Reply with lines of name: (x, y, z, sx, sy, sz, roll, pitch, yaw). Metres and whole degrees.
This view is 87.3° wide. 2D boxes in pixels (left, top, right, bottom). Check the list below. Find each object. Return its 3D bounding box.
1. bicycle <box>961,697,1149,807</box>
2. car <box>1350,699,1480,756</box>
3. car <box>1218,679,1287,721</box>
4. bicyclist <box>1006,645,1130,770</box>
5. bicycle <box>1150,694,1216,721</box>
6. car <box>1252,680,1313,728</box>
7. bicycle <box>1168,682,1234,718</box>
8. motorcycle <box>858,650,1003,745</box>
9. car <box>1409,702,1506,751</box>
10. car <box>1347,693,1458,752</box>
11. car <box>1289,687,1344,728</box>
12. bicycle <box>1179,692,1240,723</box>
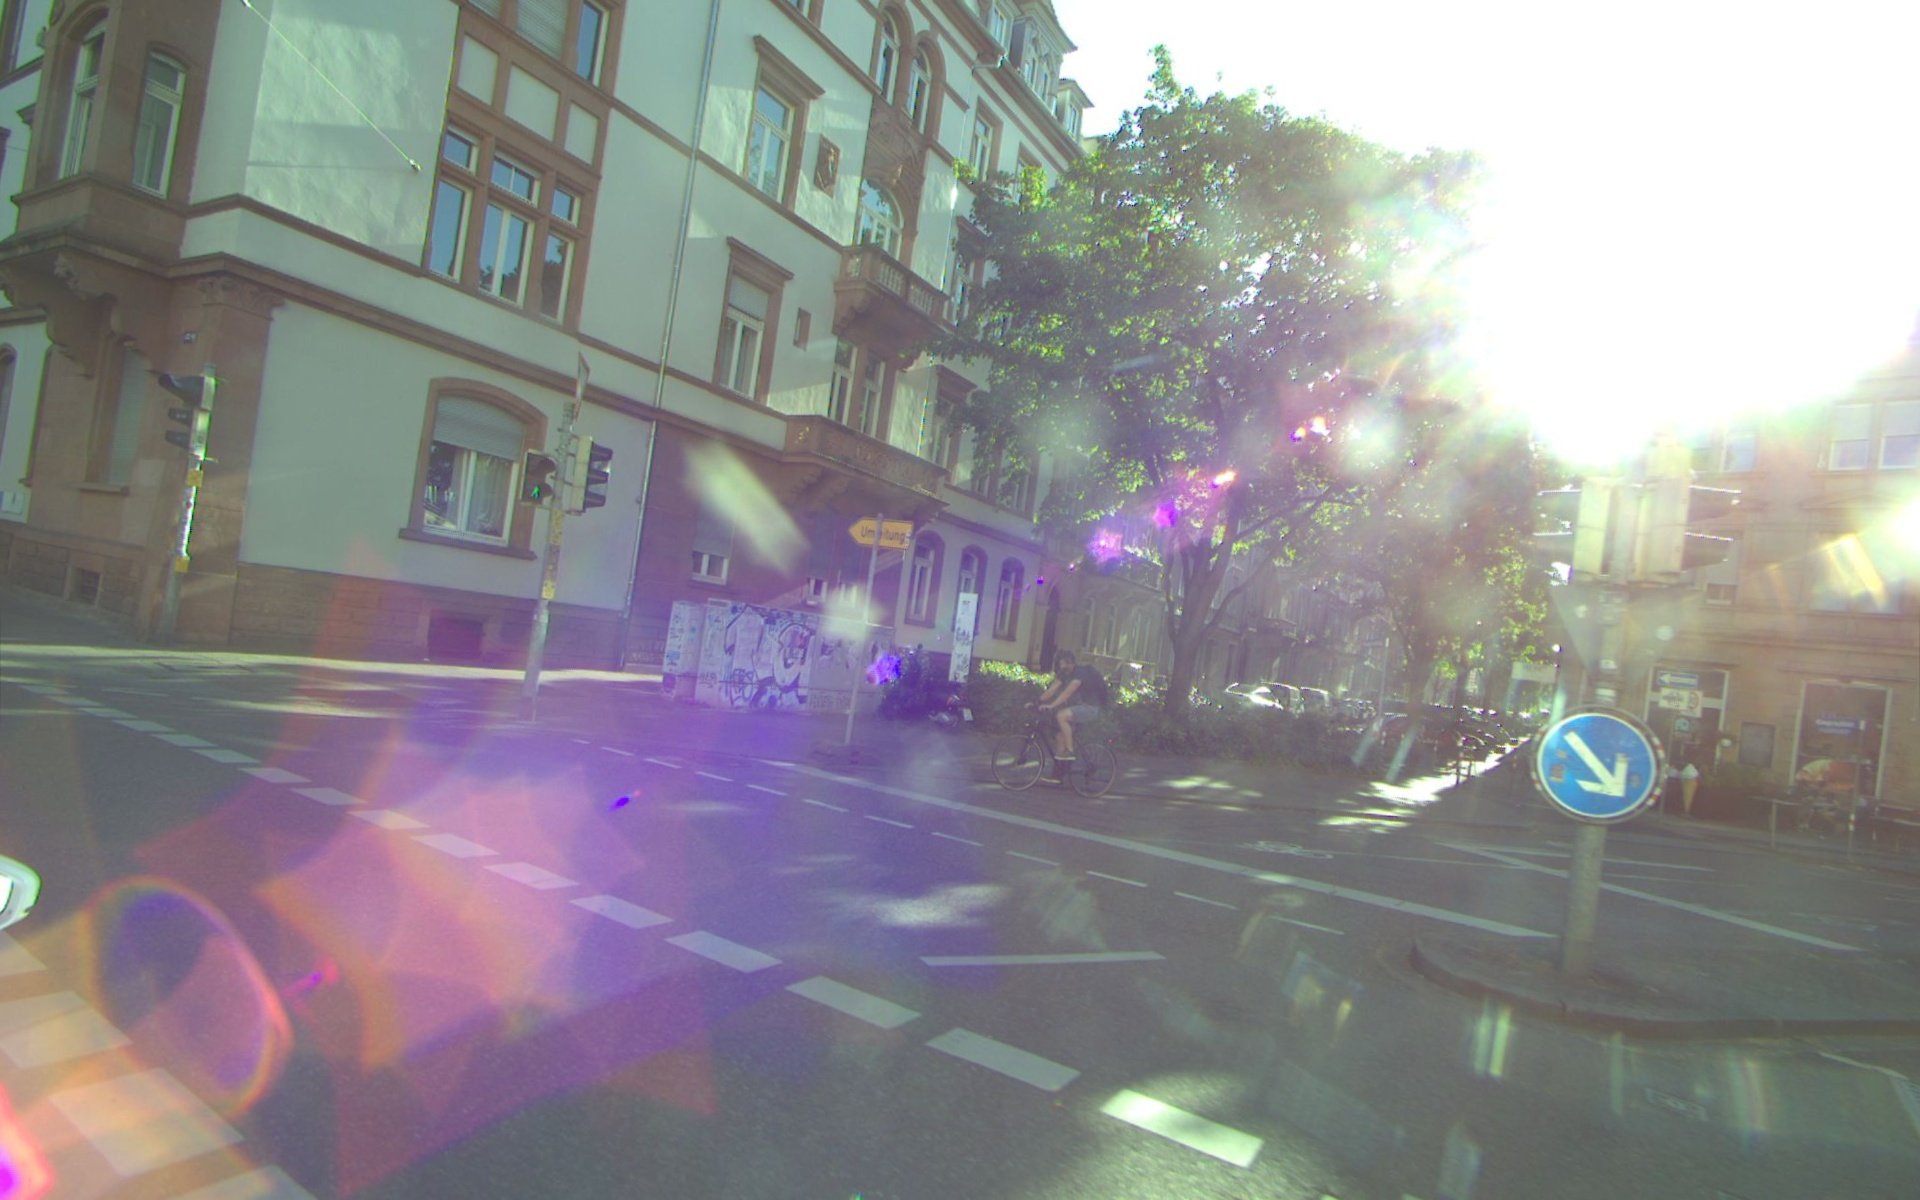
bicycle: (1.187, 1.890, 12.498, 2.071, 1.056, 0.843, 9, -2, -24)
car: (17.380, 4.867, 38.576, 4.100, 1.448, 1.640, 8, -2, 5)
car: (12.666, 4.339, 43.445, 1.538, 1.444, 3.800, 6, -3, 36)
bicyclist: (1.336, 1.330, 12.540, 1.121, 1.358, 0.833, 9, -1, -24)
bicycle: (8.211, 3.957, 37.080, 2.128, 0.657, 1.014, 6, -3, 38)
car: (15.540, 5.028, 48.328, 1.611, 1.884, 3.994, 10, 0, 33)
bicycle: (9.245, 3.823, 38.588, 2.127, 0.898, 1.014, 12, 1, 38)
motorcycle: (-0.520, 1.628, 16.968, 2.350, 1.137, 0.612, 10, 0, 31)
car: (26.285, 6.647, 53.234, 3.926, 1.883, 2.005, 8, -2, 2)
car: (19.145, 5.282, 43.682, 3.924, 1.885, 1.639, 7, 0, 5)
car: (19.789, 5.979, 55.734, 1.714, 1.884, 3.994, 10, 0, 33)
bicycle: (9.923, 4.265, 40.013, 2.022, 0.740, 1.014, 12, 1, 38)
